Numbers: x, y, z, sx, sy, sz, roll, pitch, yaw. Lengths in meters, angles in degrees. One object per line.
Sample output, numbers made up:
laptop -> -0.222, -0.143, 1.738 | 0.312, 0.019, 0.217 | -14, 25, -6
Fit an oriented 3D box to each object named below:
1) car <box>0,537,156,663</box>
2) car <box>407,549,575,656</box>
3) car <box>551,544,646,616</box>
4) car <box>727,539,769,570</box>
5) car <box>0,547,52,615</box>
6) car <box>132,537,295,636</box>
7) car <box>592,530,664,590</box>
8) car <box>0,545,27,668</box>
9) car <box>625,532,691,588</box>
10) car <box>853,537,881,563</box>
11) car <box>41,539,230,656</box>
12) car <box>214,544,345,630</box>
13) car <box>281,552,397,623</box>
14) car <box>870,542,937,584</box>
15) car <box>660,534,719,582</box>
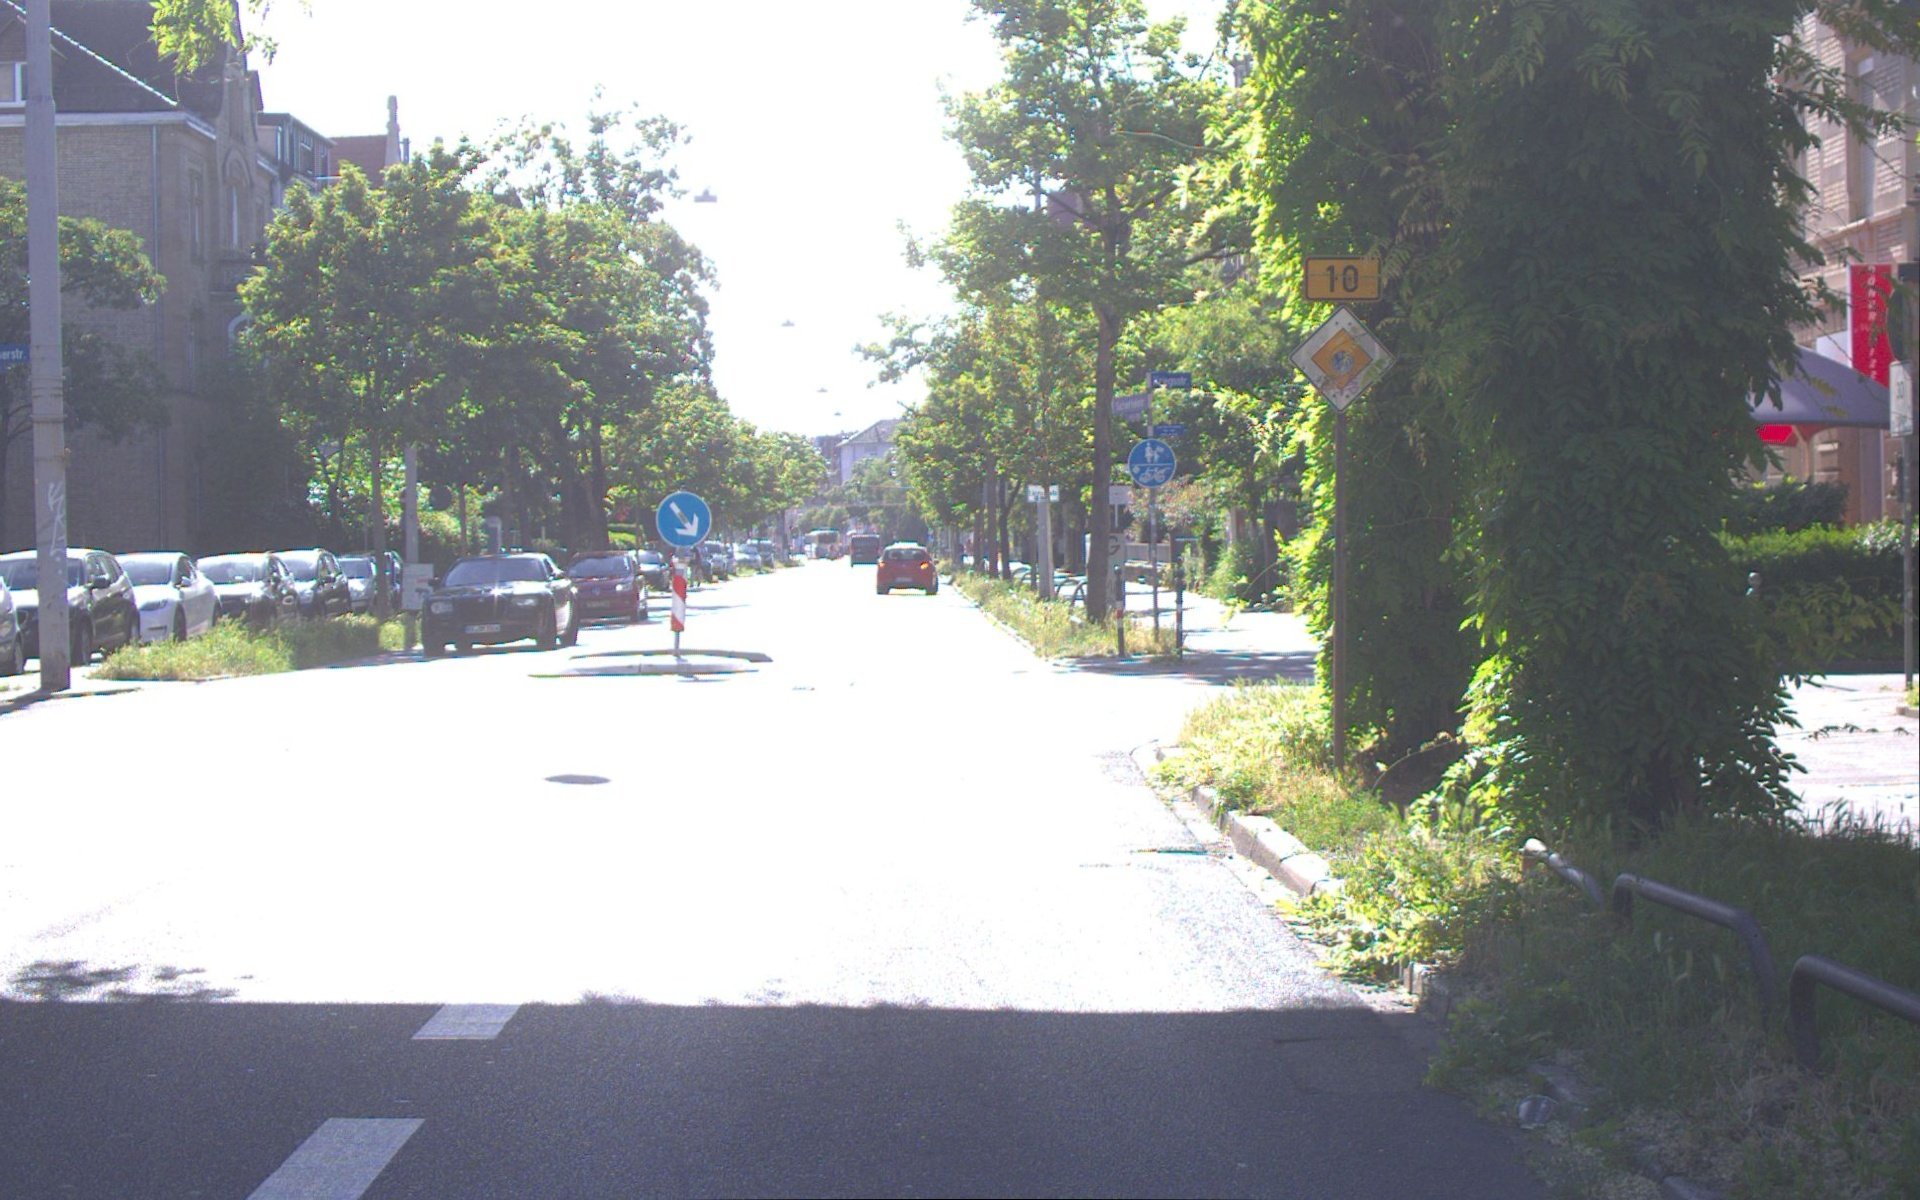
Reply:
car -> -12.533, -0.025, 47.236 | 1.868, 1.622, 4.505 | -2, 1, 0
car -> -6.943, 0.006, 51.322 | 1.866, 1.453, 4.593 | -2, 1, 0
car -> -7.454, -0.431, 71.213 | 1.651, 1.423, 3.507 | -1, 1, -1
car -> -12.176, -2.604, 197.597 | 1.993, 1.690, 4.000 | -1, 1, 1
car -> -24.410, -0.445, 84.043 | 3.986, 1.624, 1.688 | -1, 1, -4
car -> -13.039, -0.261, 60.266 | 1.863, 1.582, 4.000 | -2, 1, 1
car -> -11.761, -1.436, 121.950 | 1.993, 2.007, 4.205 | -1, 1, 1
car -> -12.679, 0.113, 42.037 | 1.719, 1.513, 3.532 | -2, 1, -4
car -> -11.211, -1.517, 127.843 | 1.993, 2.007, 4.205 | -1, 1, 1
car -> -6.388, -3.444, 236.380 | 1.758, 1.777, 4.000 | -1, 1, 0
car -> -12.862, -0.081, 53.885 | 1.888, 1.656, 4.531 | -3, 1, -1
car -> -13.086, -0.279, 66.305 | 1.751, 1.548, 4.000 | -2, 1, -1
car -> -12.960, -0.291, 71.931 | 1.754, 1.393, 4.000 | -1, 1, -1
car -> -1.698, -1.138, 104.497 | 1.797, 1.219, 4.000 | -1, 1, 2
car -> -11.678, -1.830, 148.831 | 2.061, 2.007, 4.629 | -1, 1, 1
